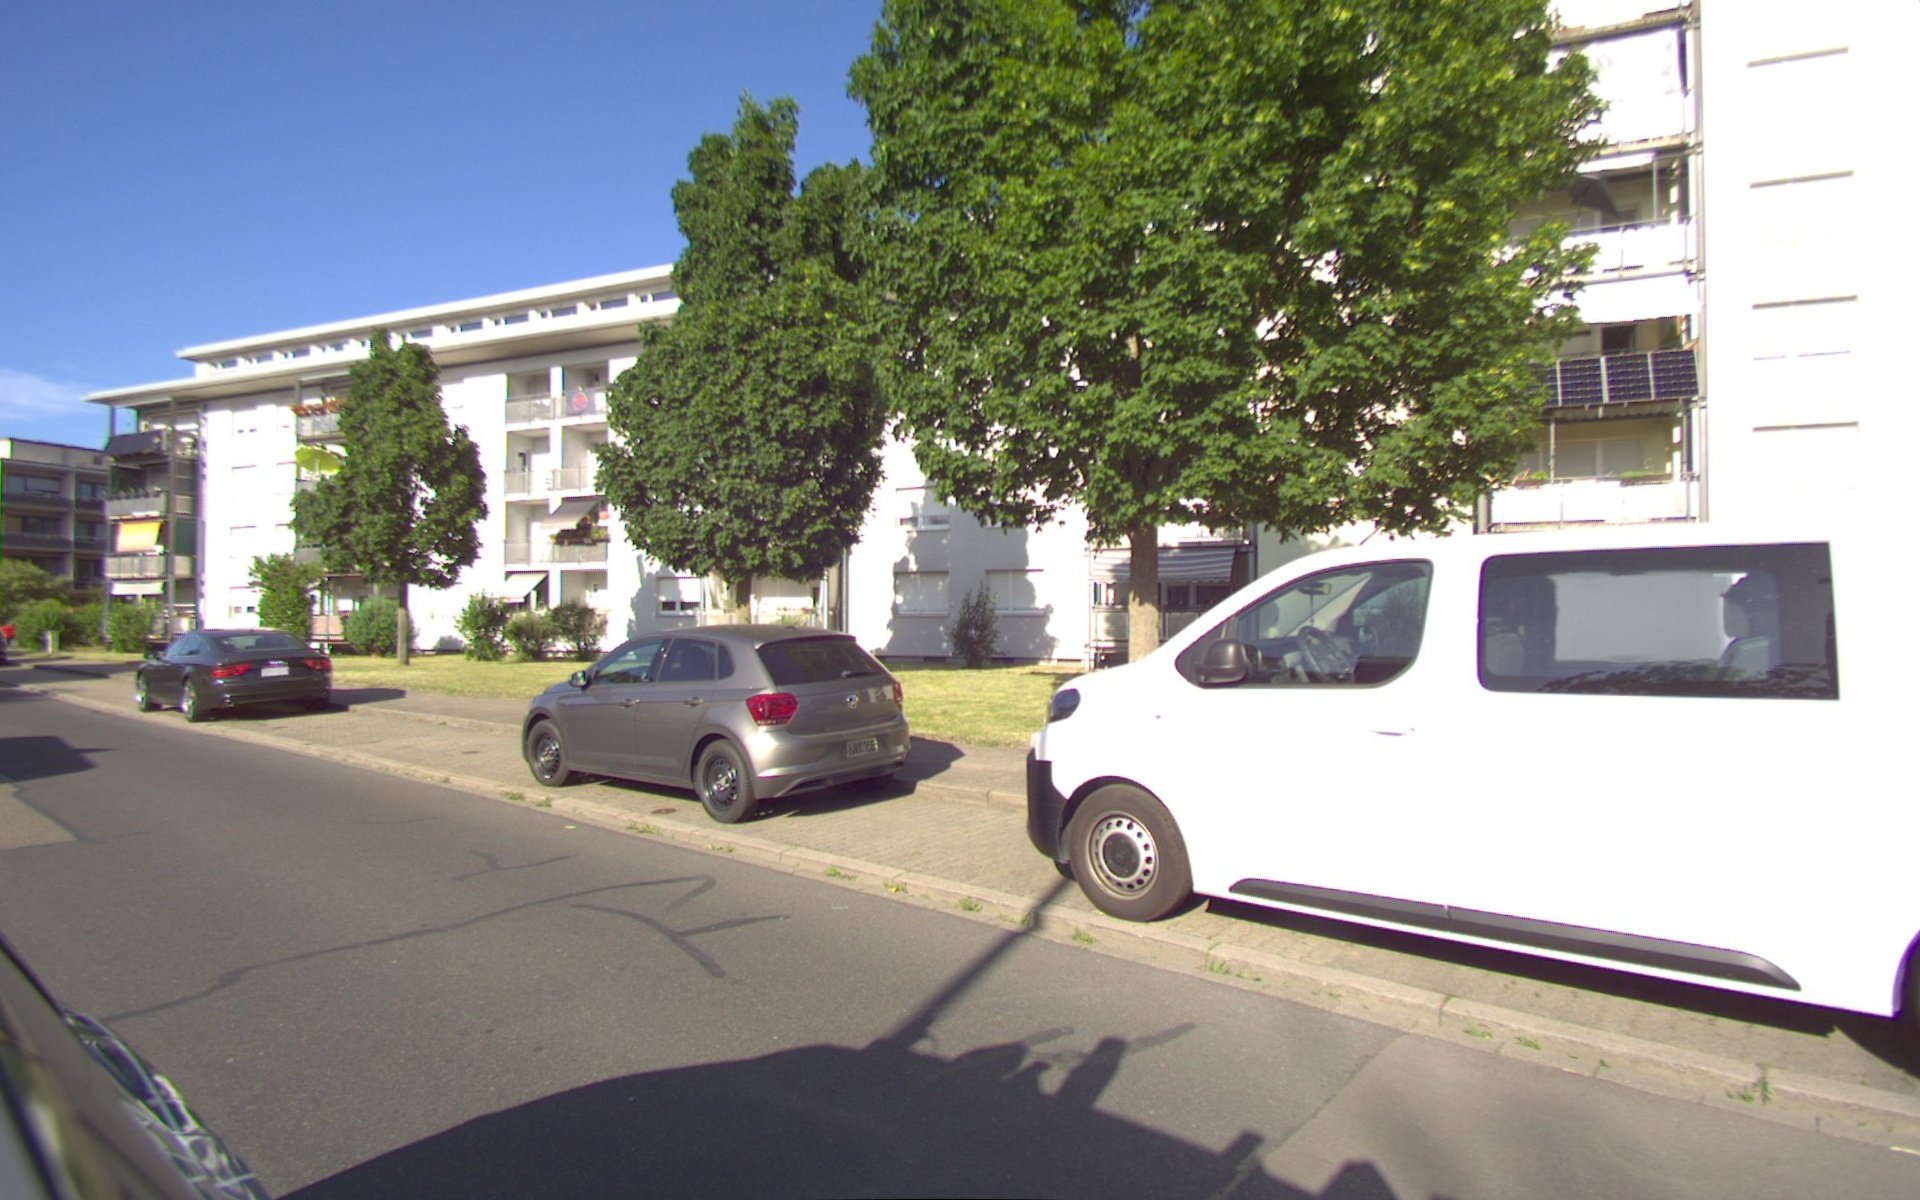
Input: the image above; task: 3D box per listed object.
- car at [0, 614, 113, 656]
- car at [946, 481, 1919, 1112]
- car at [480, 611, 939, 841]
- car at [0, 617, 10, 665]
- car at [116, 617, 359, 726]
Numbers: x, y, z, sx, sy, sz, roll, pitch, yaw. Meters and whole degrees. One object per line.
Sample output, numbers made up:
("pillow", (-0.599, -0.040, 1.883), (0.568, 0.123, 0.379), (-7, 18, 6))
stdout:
("car", (-56.344, 2.215, 62.403), (2.207, 2.447, 5.856), (-3, -4, 33))
("car", (2.536, 0.606, 4.672), (5.187, 1.900, 1.994), (-1, 0, 41))
("car", (-2.362, 0.886, 8.928), (4.218, 1.529, 1.814), (-1, 0, 40))
("car", (-34.759, 1.392, 34.977), (4.801, 1.616, 1.897), (-1, -2, 36))
("car", (-12.274, 1.106, 17.044), (5.251, 1.504, 2.015), (-2, 0, 39))
